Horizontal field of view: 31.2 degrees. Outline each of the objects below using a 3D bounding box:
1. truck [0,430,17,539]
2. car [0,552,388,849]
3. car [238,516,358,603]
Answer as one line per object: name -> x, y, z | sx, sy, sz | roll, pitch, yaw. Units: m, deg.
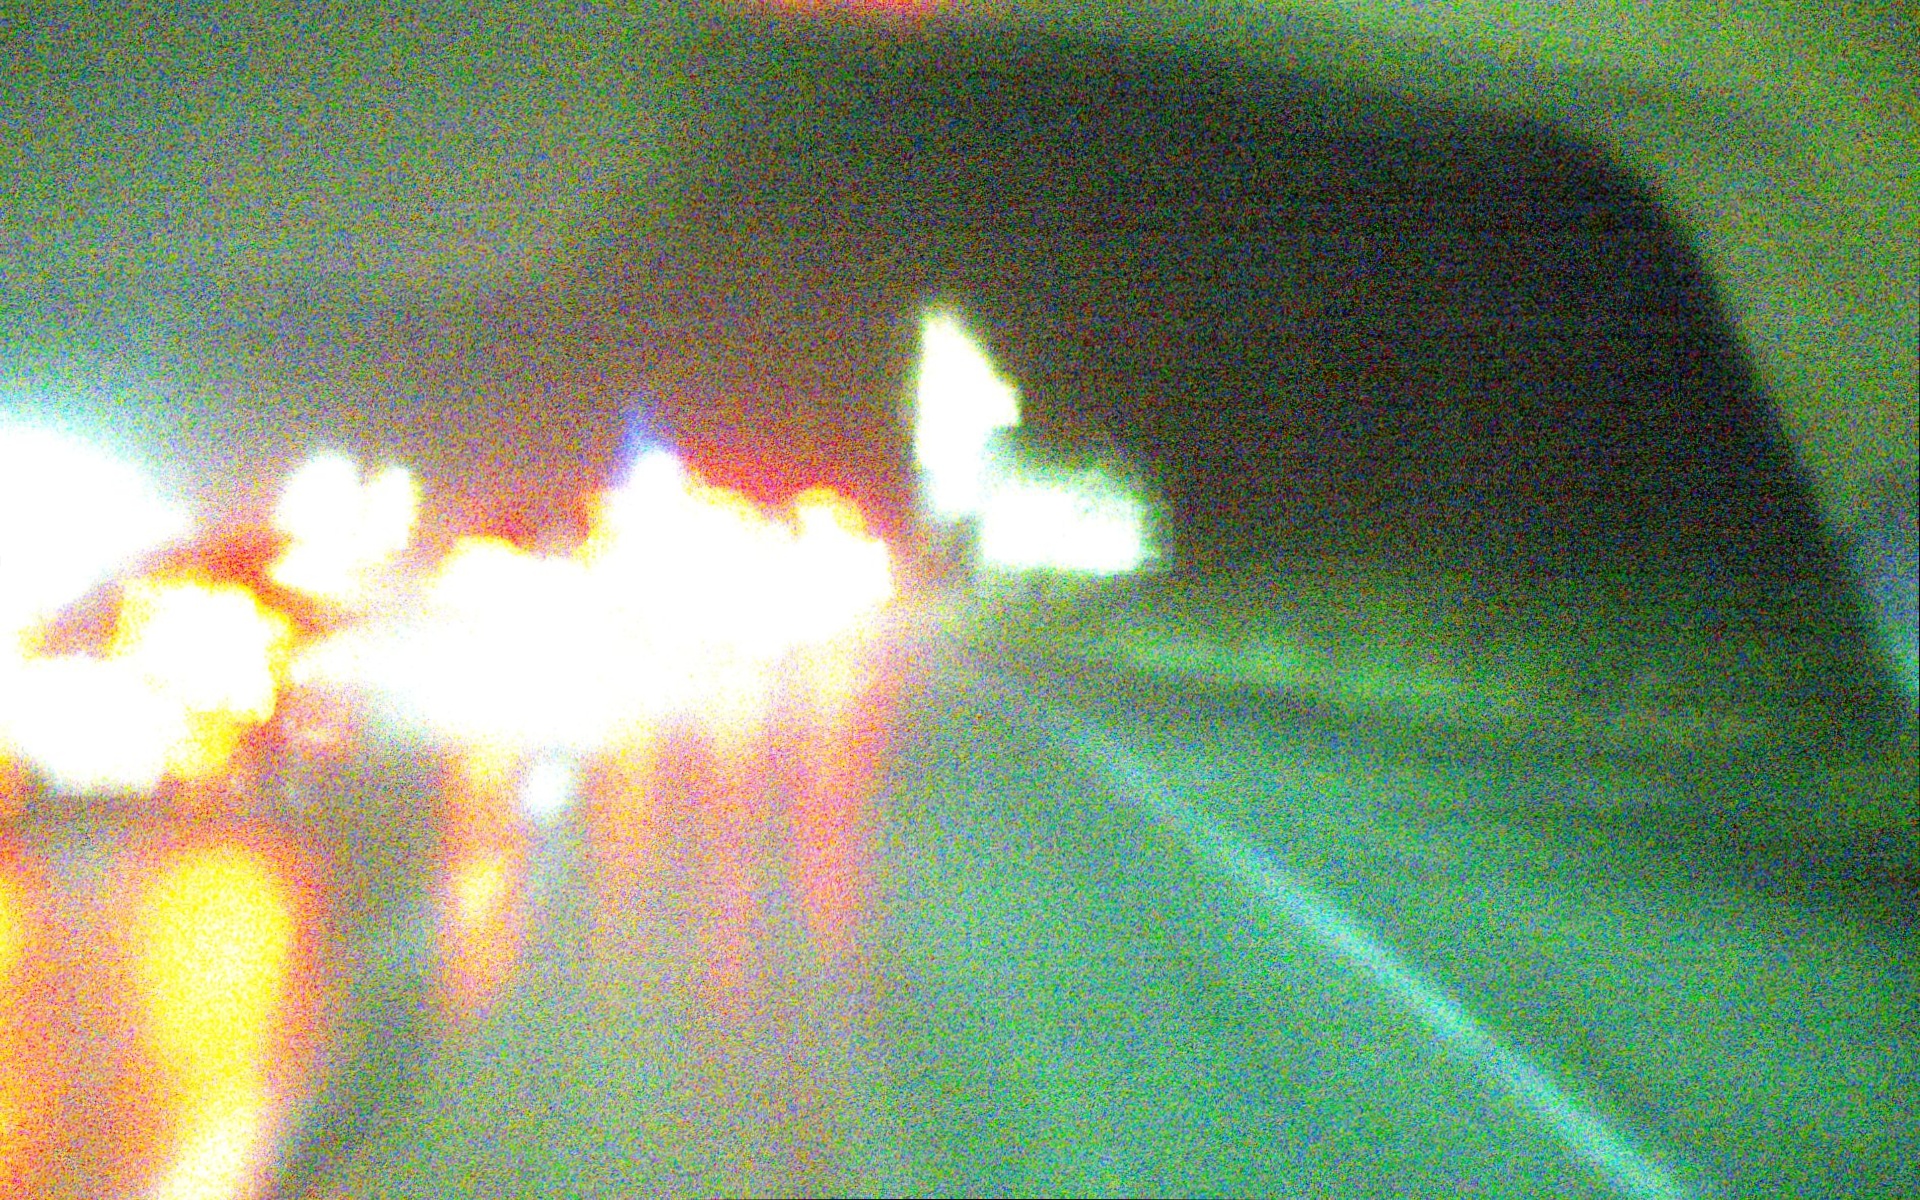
truck -> -32.104, -3.747, 111.661 | 2.603, 3.446, 4.642 | 1, 0, -13
car -> -4.307, 0.457, 18.326 | 1.962, 1.376, 4.049 | 2, 0, -2
car -> -12.310, -0.749, 64.121 | 1.892, 1.545, 4.001 | 1, 0, -7
